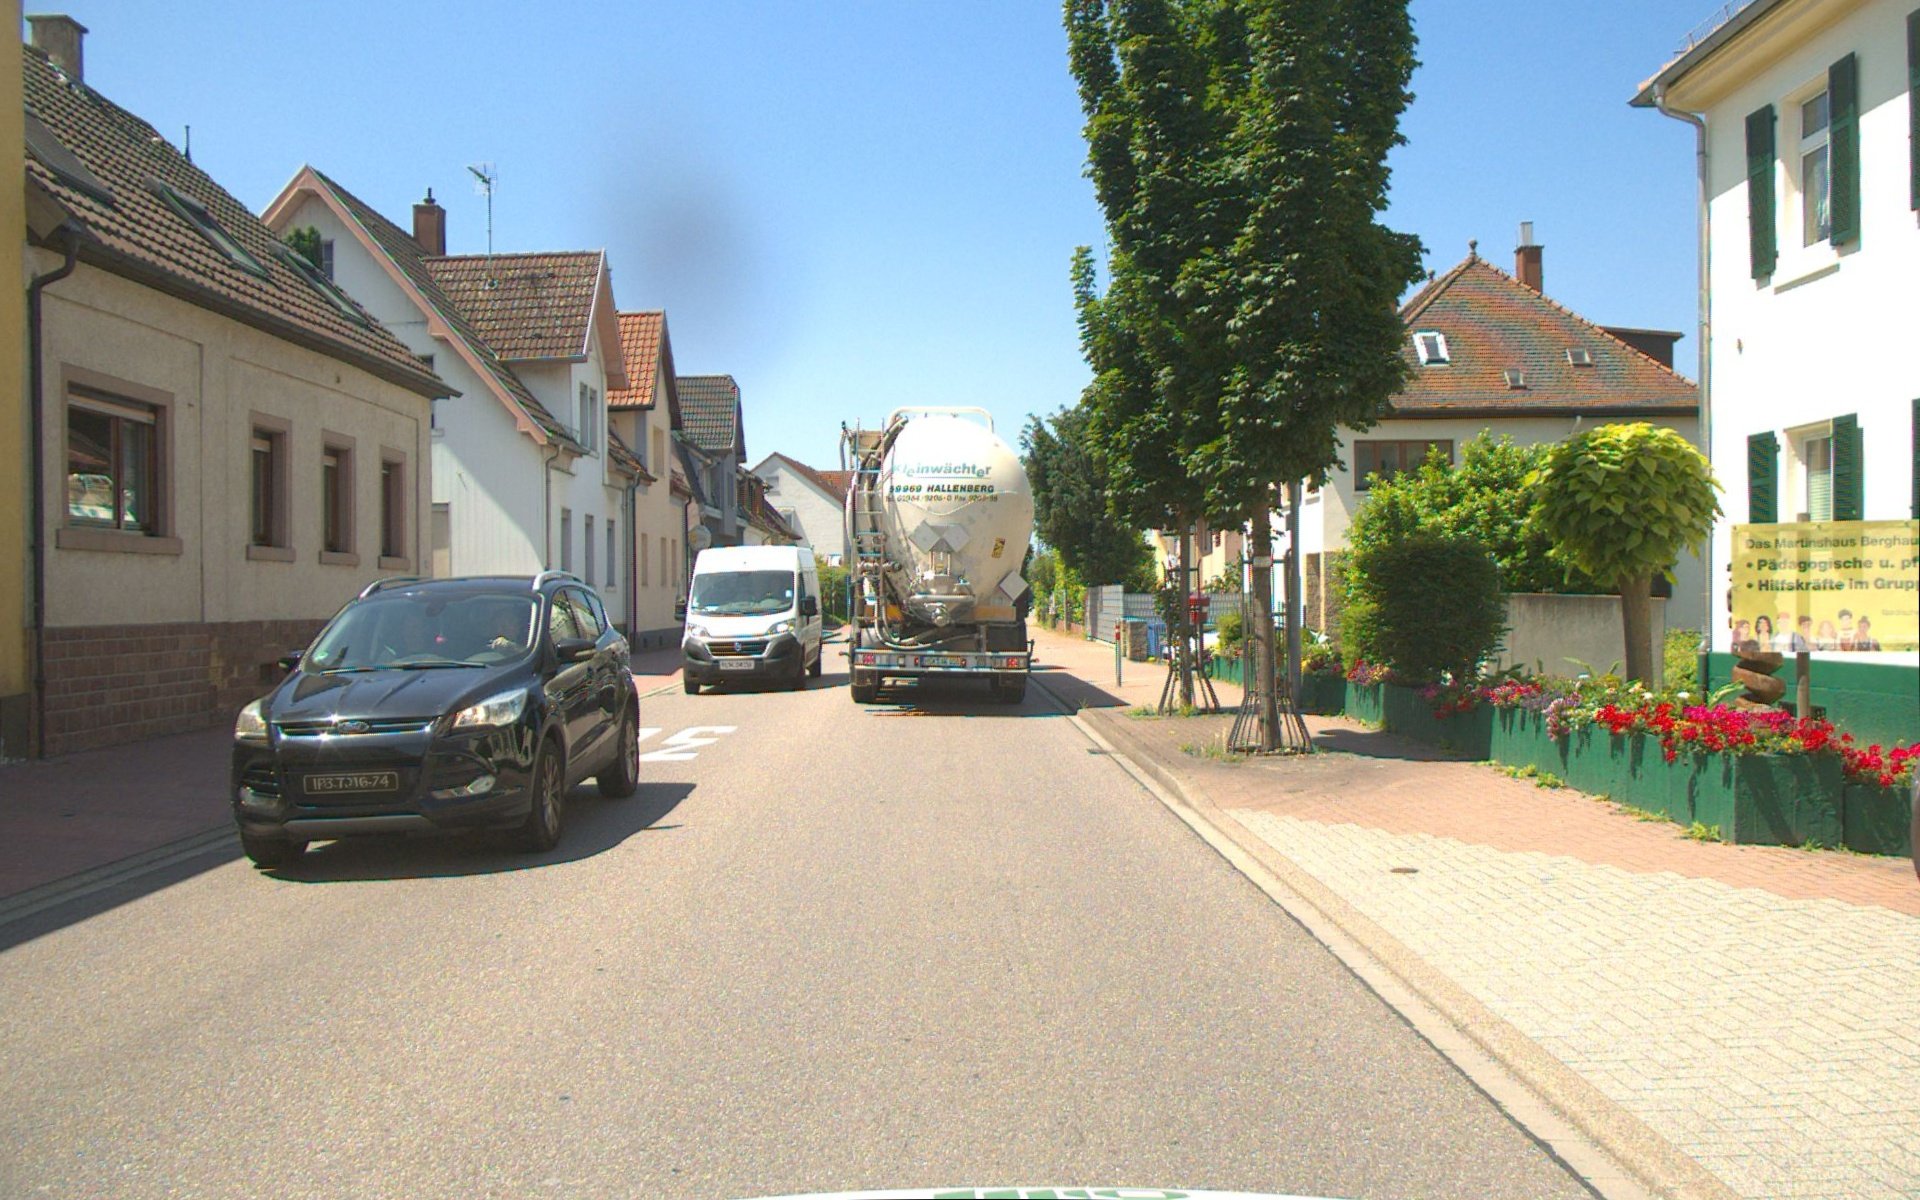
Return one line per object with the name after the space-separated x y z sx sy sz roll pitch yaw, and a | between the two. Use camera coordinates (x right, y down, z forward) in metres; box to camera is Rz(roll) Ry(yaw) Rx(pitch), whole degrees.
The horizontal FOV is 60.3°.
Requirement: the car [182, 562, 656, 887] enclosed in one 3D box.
-3.324 0.666 11.120 1.802 1.699 4.322 -2 0 -1 | car

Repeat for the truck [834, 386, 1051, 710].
-0.315 -0.621 24.862 2.677 4.029 8.138 1 -1 -1 | truck

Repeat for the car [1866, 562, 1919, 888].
5.029 0.619 5.536 1.776 1.488 4.888 4 0 7 | car

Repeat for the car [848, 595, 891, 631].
-4.280 0.602 78.652 1.813 1.598 4.253 -3 0 -1 | car

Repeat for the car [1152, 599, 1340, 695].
6.928 1.115 40.396 4.089 1.613 1.907 10 0 0 | car

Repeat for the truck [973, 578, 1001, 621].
2.154 -0.031 129.124 1.952 3.192 9.450 1 0 2 | truck

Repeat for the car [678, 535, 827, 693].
-3.605 0.223 29.837 2.027 2.498 6.005 -2 0 -2 | car
